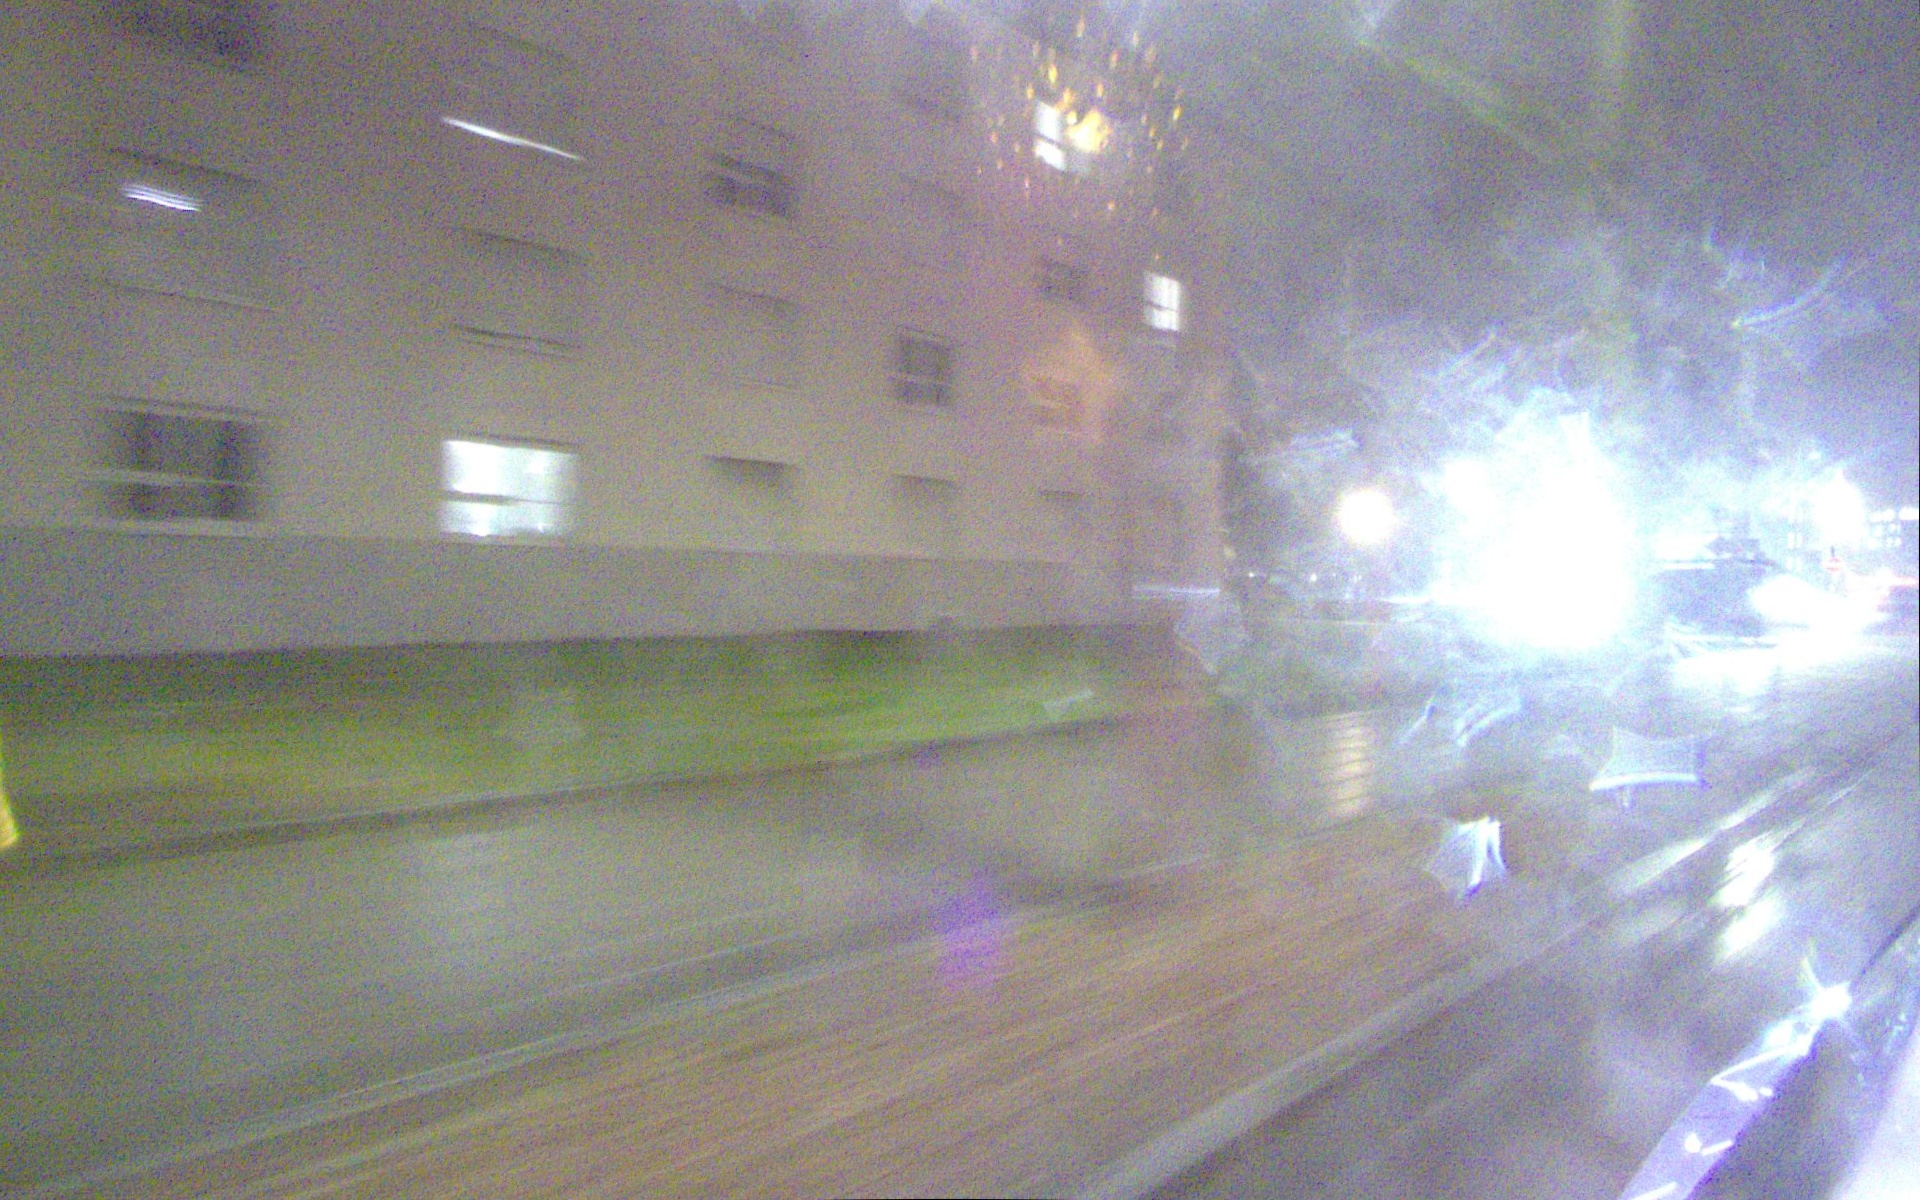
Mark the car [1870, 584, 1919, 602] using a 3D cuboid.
[{"bbox_3d":[81.182,-0.587,86.883,4.146,1.484,1.981,2,2,28],"label":"car"}]

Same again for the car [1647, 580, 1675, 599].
[{"bbox_3d":[68.591,-1.056,99.004,1.990,1.776,3.945,3,3,38],"label":"car"}]

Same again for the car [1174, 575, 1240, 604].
[{"bbox_3d":[13.259,-0.563,54.156,3.953,1.465,1.484,0,2,-42],"label":"car"}]

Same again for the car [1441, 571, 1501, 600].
[{"bbox_3d":[35.225,-1.032,69.868,1.961,1.807,4.004,1,2,-3],"label":"car"}]
